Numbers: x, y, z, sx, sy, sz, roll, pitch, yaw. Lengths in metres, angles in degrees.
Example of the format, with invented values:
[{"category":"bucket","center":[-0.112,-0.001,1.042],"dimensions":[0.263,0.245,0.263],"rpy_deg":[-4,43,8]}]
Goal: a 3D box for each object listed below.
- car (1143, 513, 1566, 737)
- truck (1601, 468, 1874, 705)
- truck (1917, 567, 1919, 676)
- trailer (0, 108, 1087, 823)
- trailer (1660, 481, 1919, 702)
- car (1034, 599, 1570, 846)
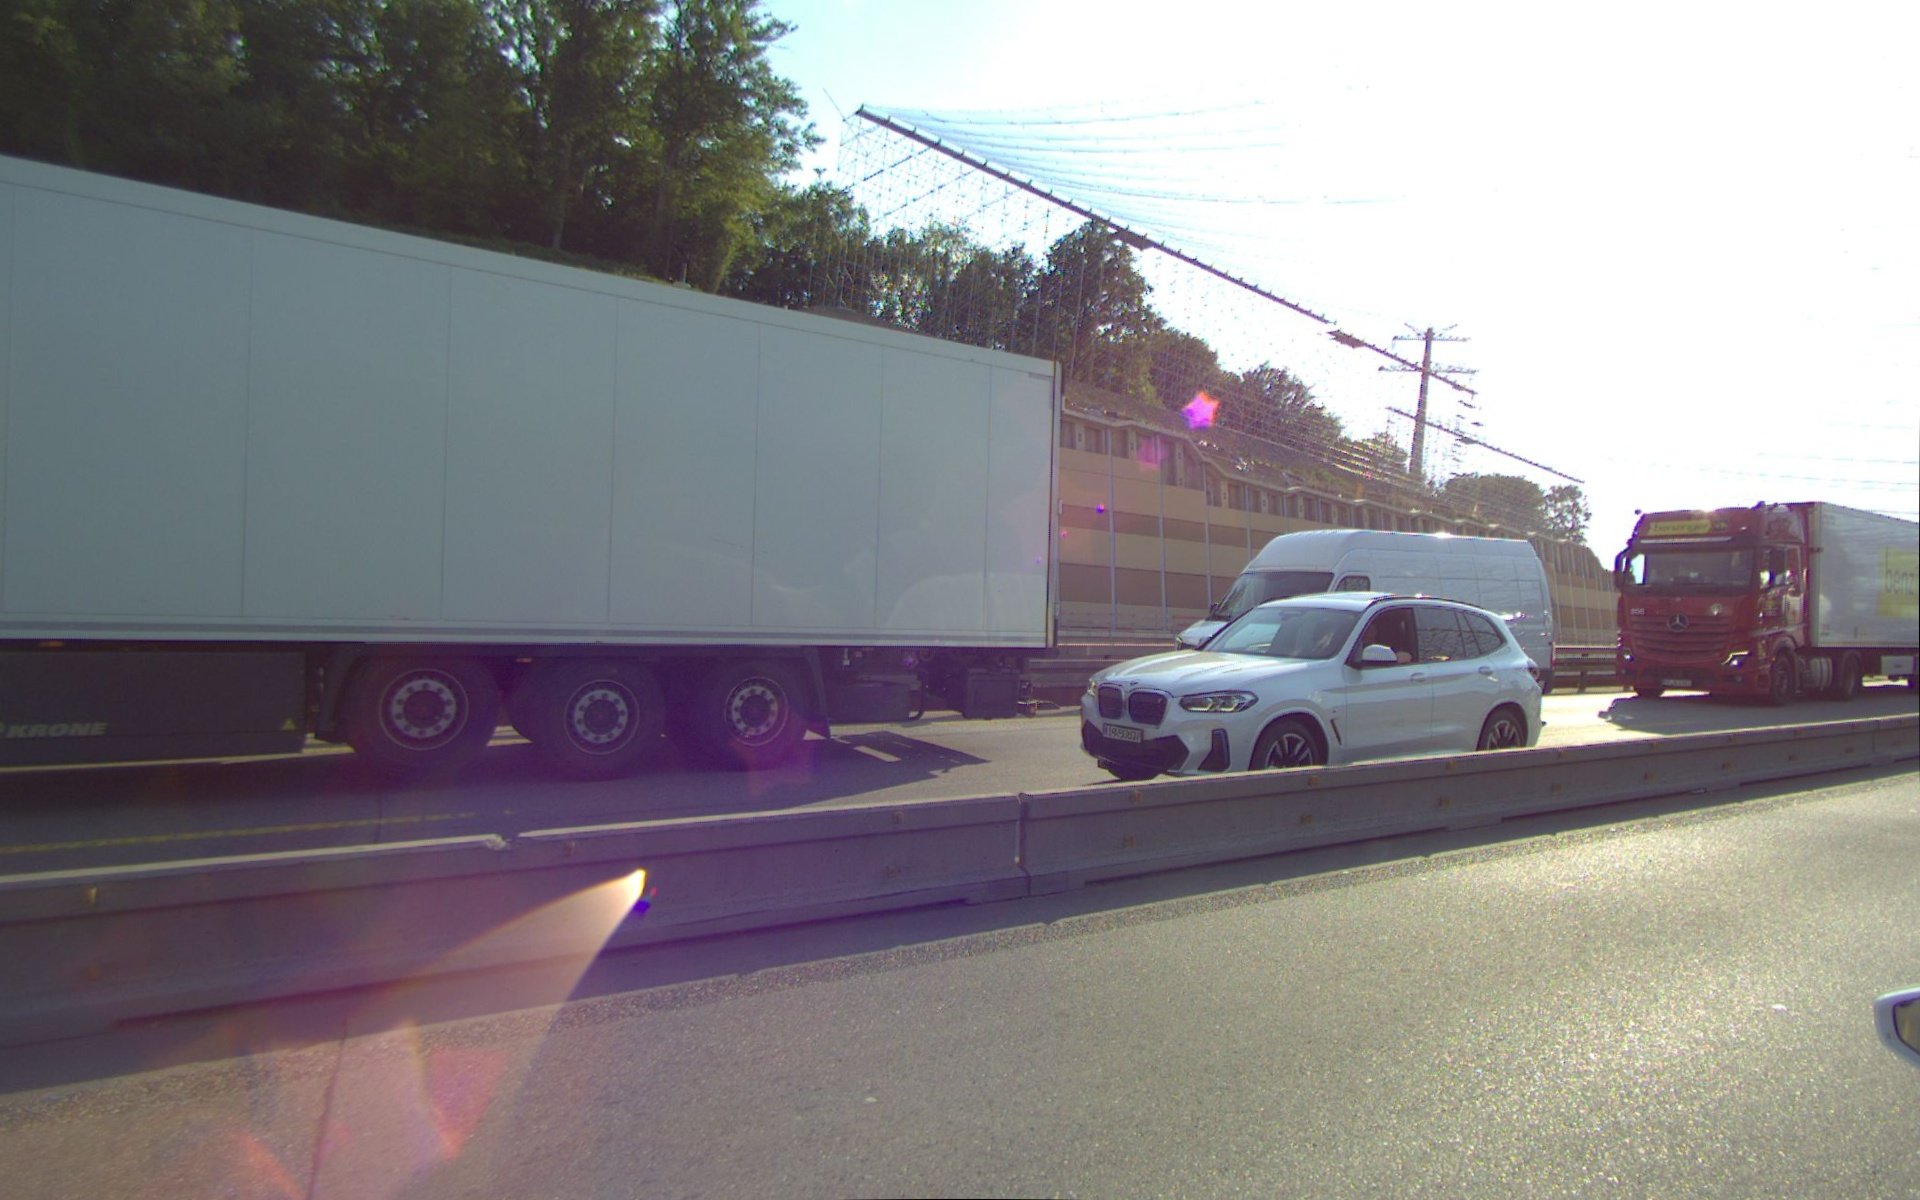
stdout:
[{"category":"car","center":[6.012,0.319,14.823],"dimensions":[6.869,2.726,2.011],"rpy_deg":[1,1,-31]},{"category":"truck","center":[16.451,-0.170,21.167],"dimensions":[5.870,4.357,2.729],"rpy_deg":[2,0,-33]},{"category":"truck","center":[33.727,0.410,32.496],"dimensions":[5.873,4.196,2.770],"rpy_deg":[2,0,-34]},{"category":"trailer","center":[-5.216,-0.763,7.936],"dimensions":[13.594,4.274,2.706],"rpy_deg":[2,0,-32]},{"category":"trailer","center":[22.013,0.027,24.834],"dimensions":[13.733,4.391,2.750],"rpy_deg":[2,0,-33]},{"category":"car","center":[3.136,0.852,8.873],"dimensions":[4.749,1.610,1.859],"rpy_deg":[0,2,-32]}]
